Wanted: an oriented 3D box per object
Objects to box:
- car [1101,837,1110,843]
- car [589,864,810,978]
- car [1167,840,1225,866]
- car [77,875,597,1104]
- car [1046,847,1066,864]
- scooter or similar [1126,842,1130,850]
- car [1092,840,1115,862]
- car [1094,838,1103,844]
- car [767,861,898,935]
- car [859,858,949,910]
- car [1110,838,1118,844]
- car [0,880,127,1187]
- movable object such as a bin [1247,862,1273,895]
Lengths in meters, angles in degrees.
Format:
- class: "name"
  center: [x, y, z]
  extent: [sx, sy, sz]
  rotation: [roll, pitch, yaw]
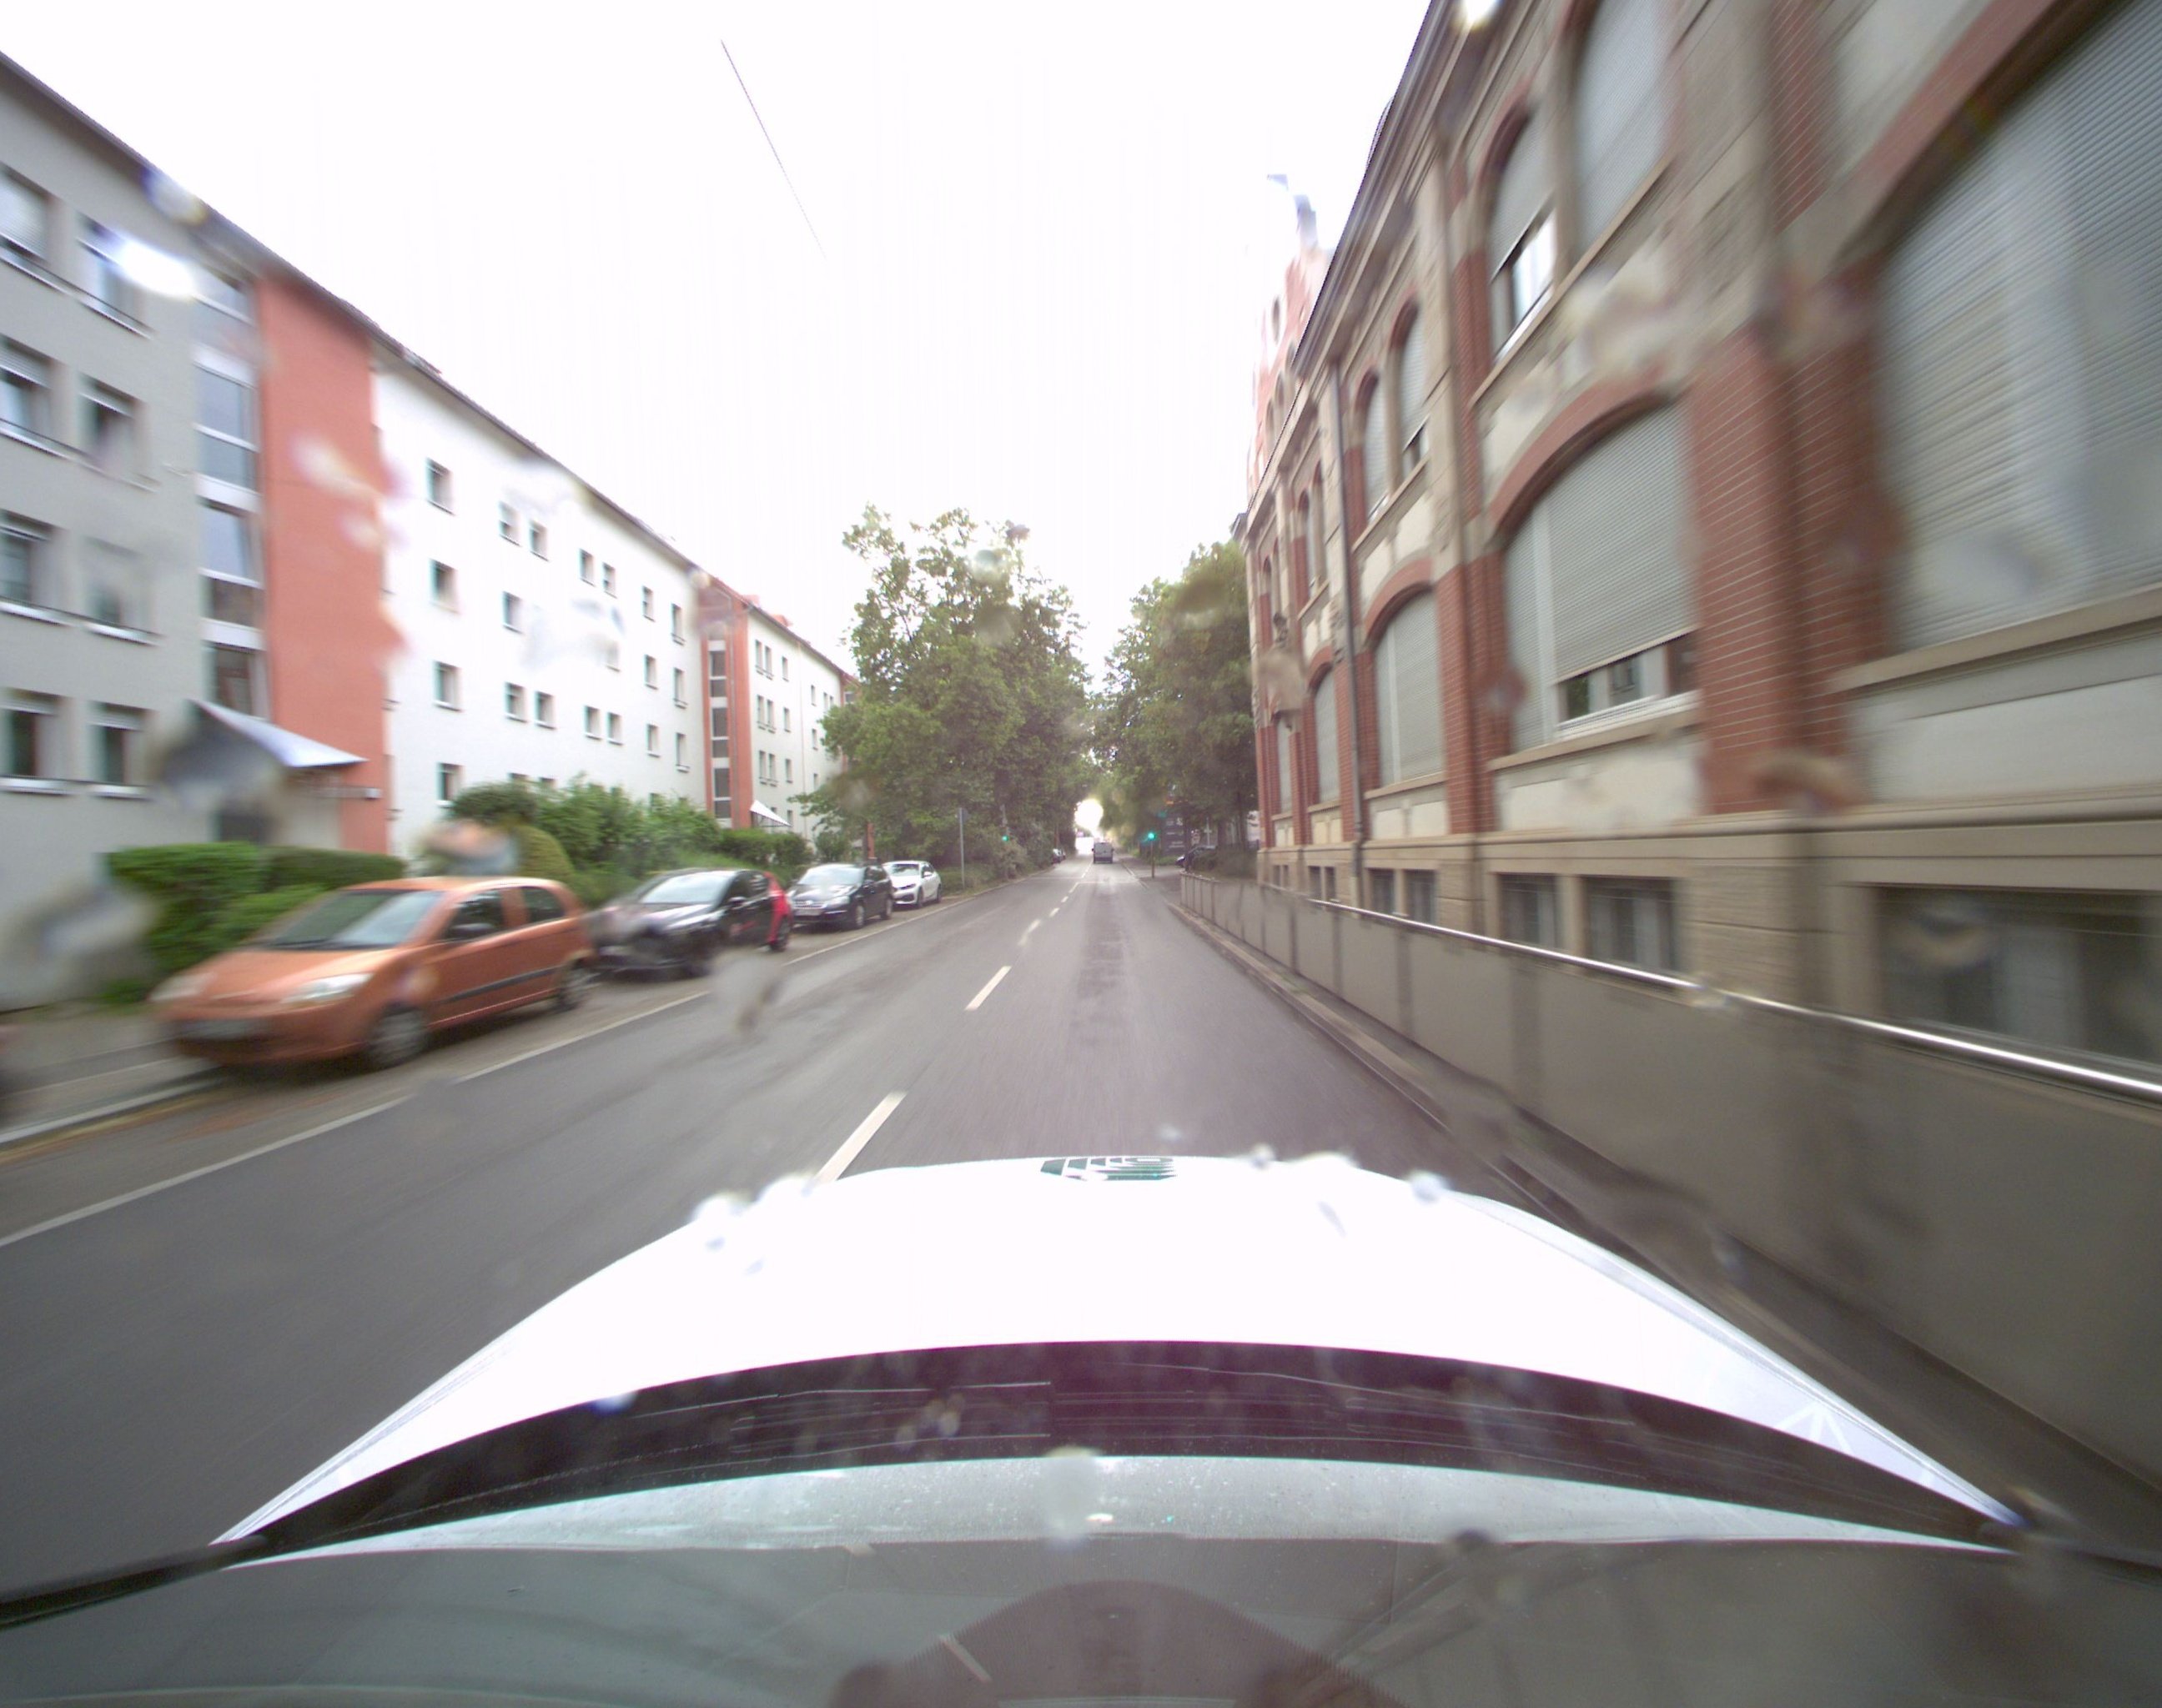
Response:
- class: "car"
  center: [6.816, -3.843, 227.036]
  extent: [2.138, 1.709, 3.879]
  rotation: [0, -1, 5]
- class: "car"
  center: [-5.821, 0.931, 12.988]
  extent: [1.711, 1.467, 3.755]
  rotation: [-1, 0, 0]
- class: "car"
  center: [8.461, -0.081, 60.127]
  extent: [3.842, 1.547, 2.023]
  rotation: [-5, 1, -5]
- class: "car"
  center: [-6.203, 0.991, 7.384]
  extent: [1.550, 1.467, 3.396]
  rotation: [-1, 0, 0]
- class: "car"
  center: [-2.677, 0.153, 88.056]
  extent: [1.858, 1.591, 4.240]
  rotation: [-4, 1, 1]
- class: "scooter or similar"
  center: [7.515, -1.255, 130.027]
  extent: [0.424, 1.142, 1.528]
  rotation: [0, -1, 0]
- class: "car"
  center: [2.405, -0.308, 85.777]
  extent: [2.327, 2.231, 4.002]
  rotation: [-3, 0, 2]
- class: "car"
  center: [5.132, -3.714, 235.331]
  extent: [2.149, 1.709, 3.879]
  rotation: [0, -1, 5]
- class: "car"
  center: [-5.606, 0.926, 18.948]
  extent: [1.711, 1.467, 4.233]
  rotation: [-1, 0, 0]
- class: "car"
  center: [-5.526, 0.890, 25.965]
  extent: [1.710, 1.467, 4.312]
  rotation: [-1, 0, 2]
- class: "car"
  center: [9.544, -3.734, 235.403]
  extent: [1.921, 1.709, 3.879]
  rotation: [0, -1, 5]
- class: "car"
  center: [-6.251, 0.924, 2.181]
  extent: [1.711, 1.509, 4.803]
  rotation: [-1, 0, 0]
- class: "movable object such as a bin"
  center: [5.251, 0.710, 23.908]
  extent: [0.588, 0.932, 0.572]
  rotation: [-4, 0, 1]
